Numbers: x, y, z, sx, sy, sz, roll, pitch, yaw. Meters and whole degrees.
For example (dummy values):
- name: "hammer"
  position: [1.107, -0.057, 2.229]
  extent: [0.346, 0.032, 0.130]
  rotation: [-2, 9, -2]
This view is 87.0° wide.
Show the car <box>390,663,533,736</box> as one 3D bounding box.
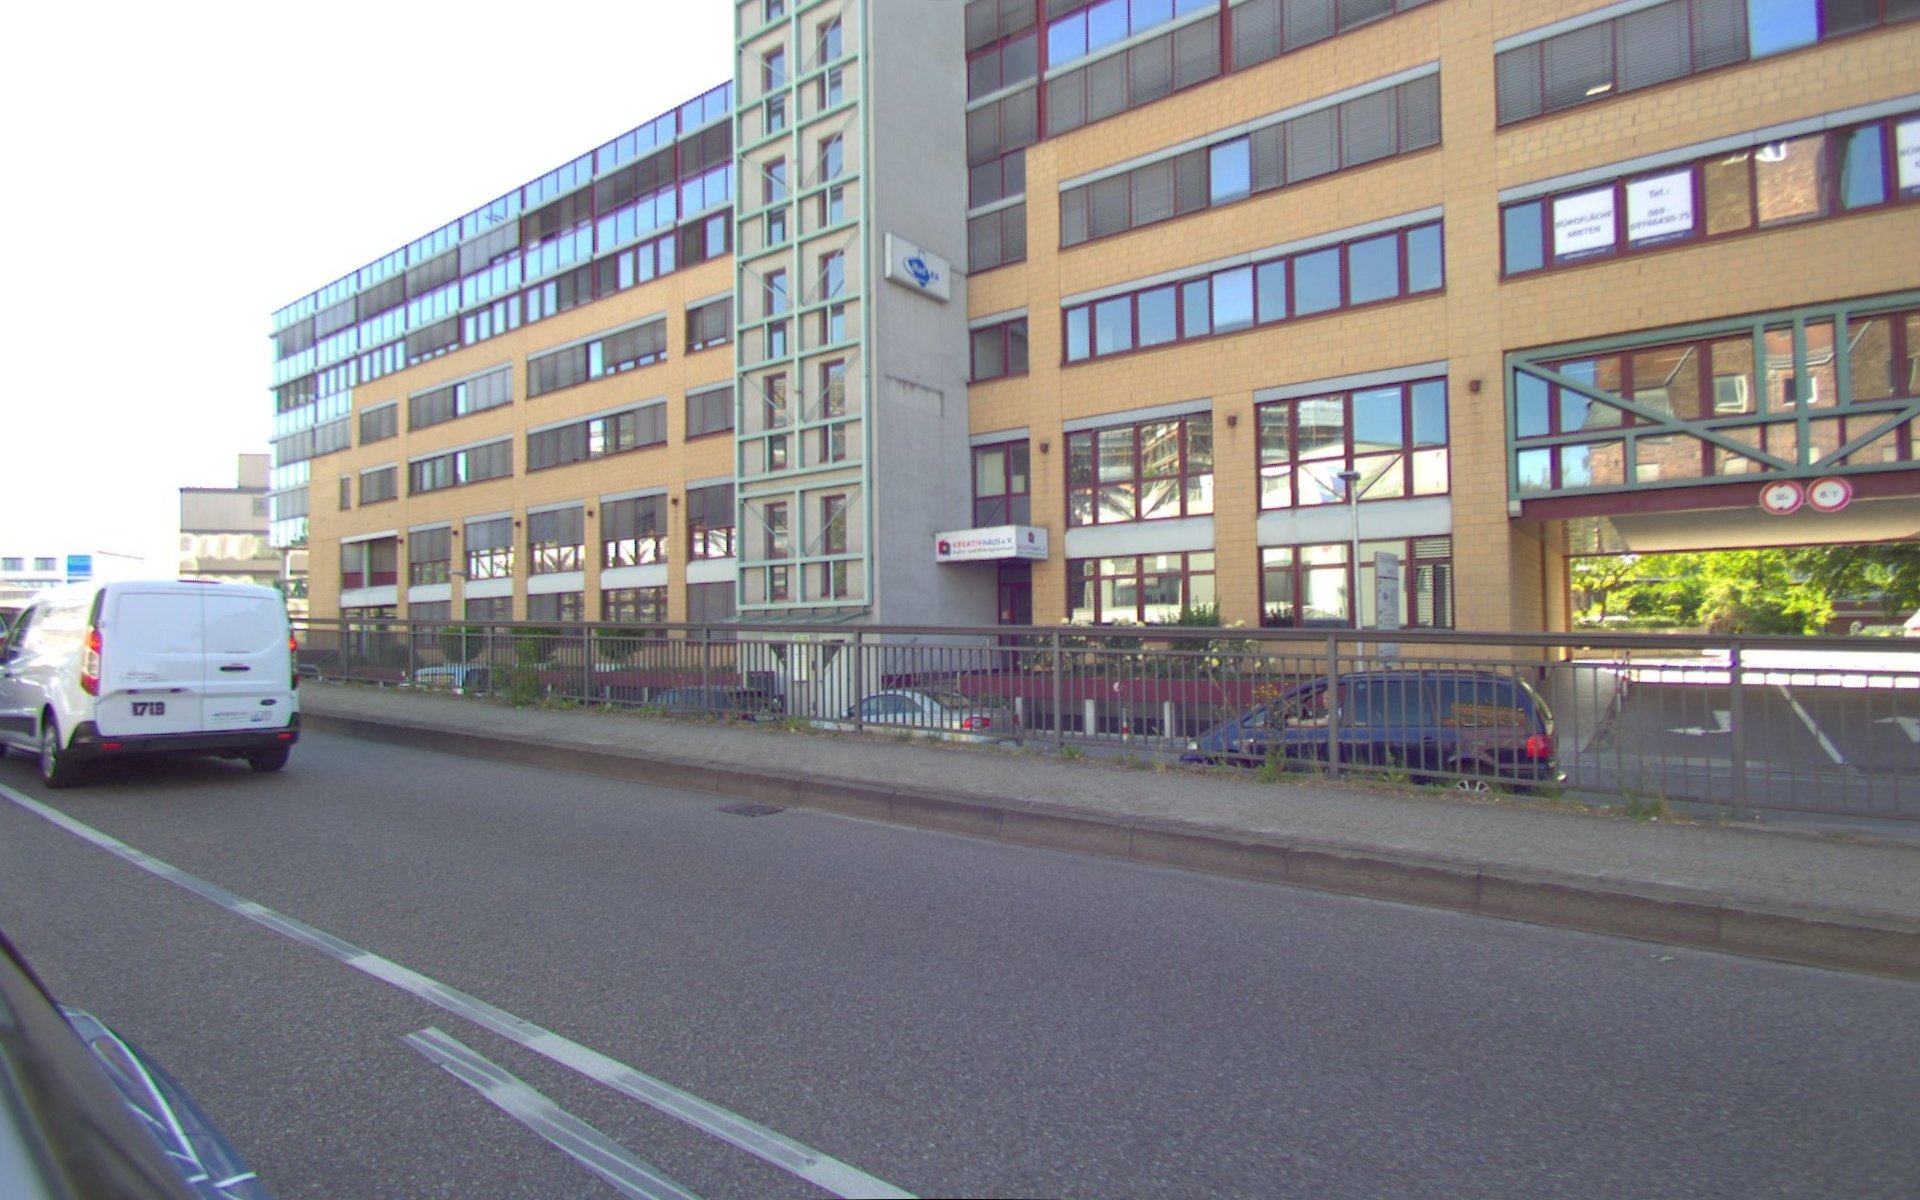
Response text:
- name: "car"
  position: [-13.406, 2.596, 27.146]
  extent: [3.996, 1.737, 1.974]
  rotation: [-3, -3, 39]

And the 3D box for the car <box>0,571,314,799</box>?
- name: "car"
  position: [-8.648, 0.784, 10.317]
  extent: [5.112, 1.815, 1.793]
  rotation: [-2, -3, 37]

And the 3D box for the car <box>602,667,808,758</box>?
- name: "car"
  position: [-5.330, 2.240, 20.958]
  extent: [4.348, 1.616, 1.803]
  rotation: [-2, -3, 36]

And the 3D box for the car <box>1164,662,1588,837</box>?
- name: "car"
  position: [5.190, 1.717, 12.925]
  extent: [4.677, 1.771, 1.934]
  rotation: [-2, -2, 35]

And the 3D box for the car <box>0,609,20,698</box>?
- name: "car"
  position: [-19.427, 0.992, 19.078]
  extent: [3.992, 1.616, 1.803]
  rotation: [-1, -1, 37]

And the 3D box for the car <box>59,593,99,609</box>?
- name: "car"
  position: [-92.038, 0.155, 105.764]
  extent: [1.794, 1.616, 4.013]
  rotation: [0, -1, -19]

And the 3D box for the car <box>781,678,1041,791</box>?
- name: "car"
  position: [-0.926, 2.209, 17.504]
  extent: [4.348, 1.616, 1.803]
  rotation: [-2, -3, 36]
